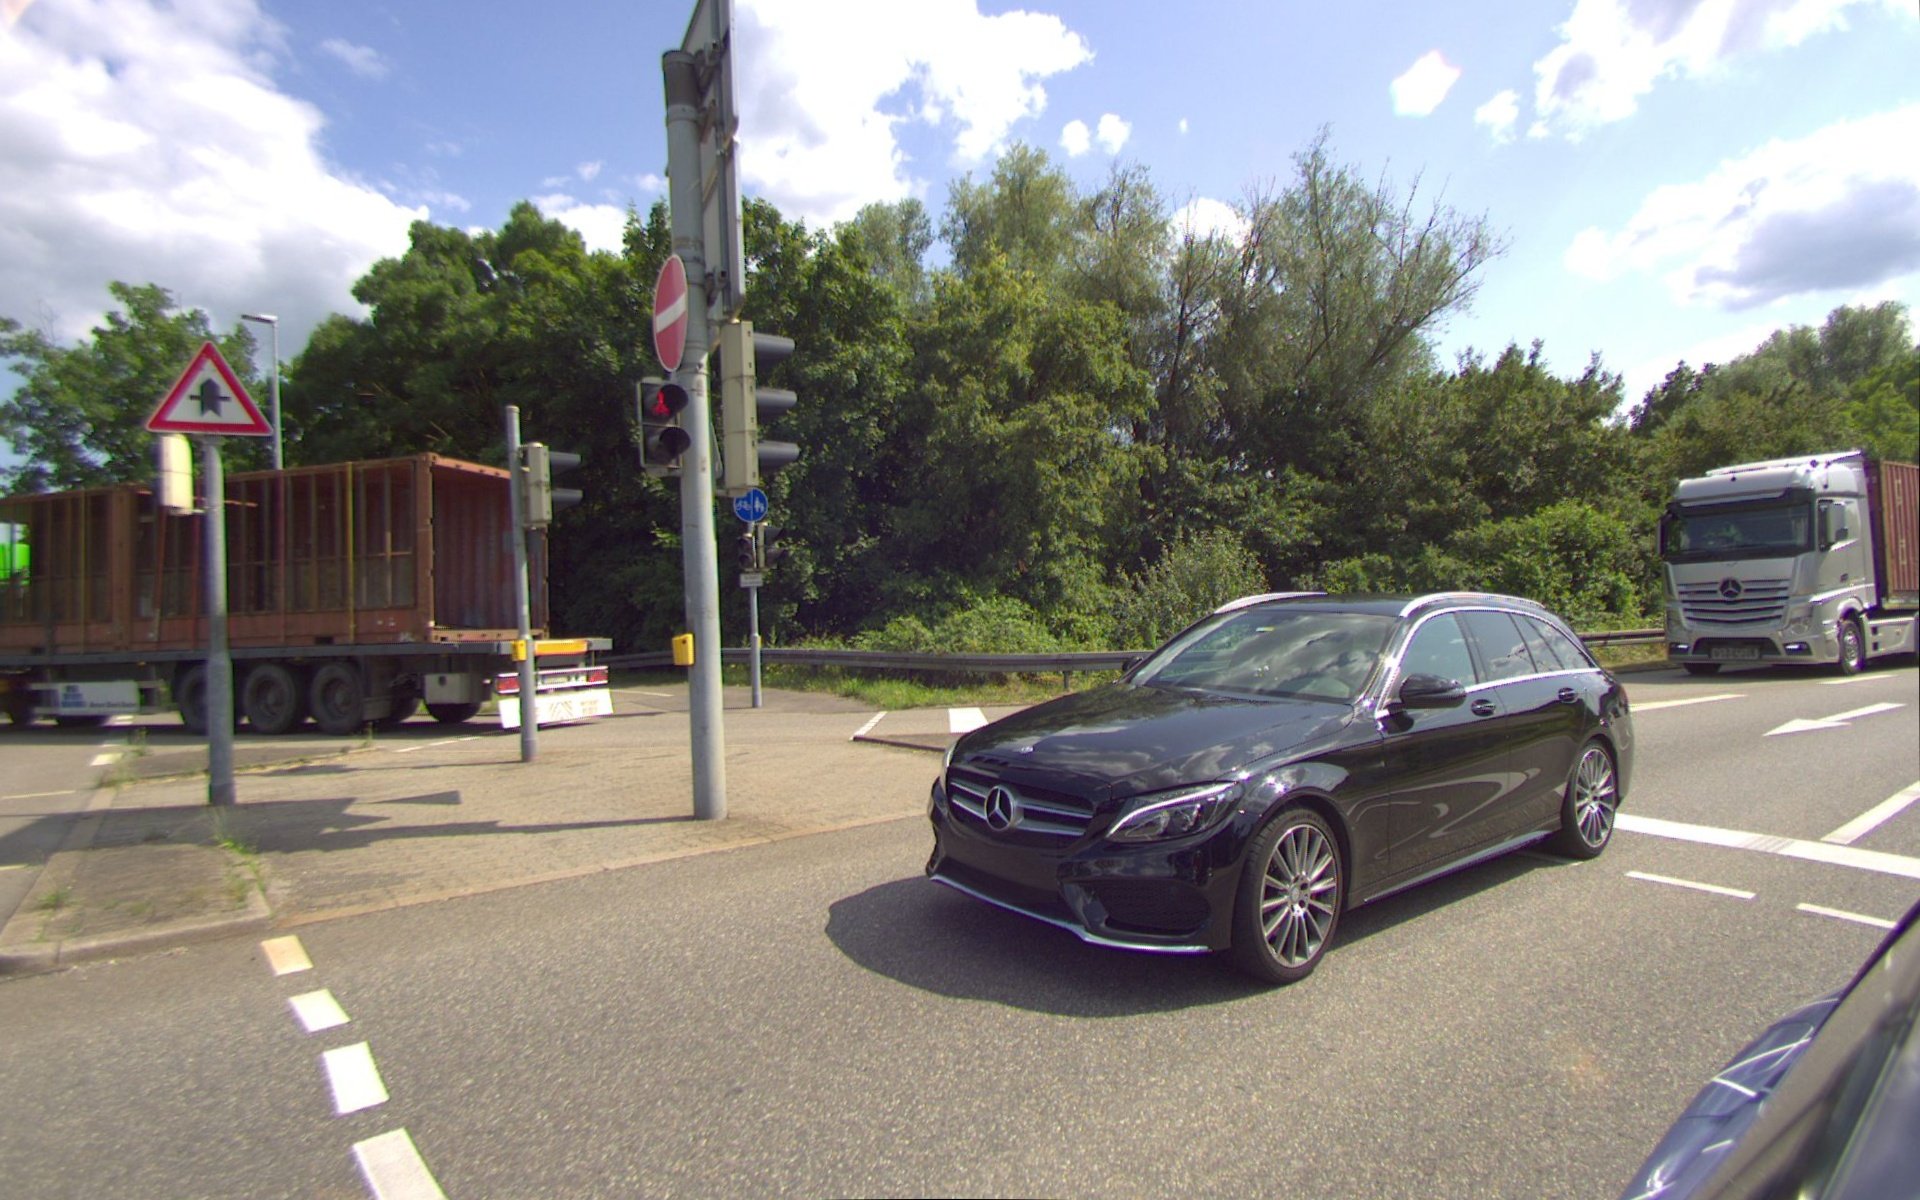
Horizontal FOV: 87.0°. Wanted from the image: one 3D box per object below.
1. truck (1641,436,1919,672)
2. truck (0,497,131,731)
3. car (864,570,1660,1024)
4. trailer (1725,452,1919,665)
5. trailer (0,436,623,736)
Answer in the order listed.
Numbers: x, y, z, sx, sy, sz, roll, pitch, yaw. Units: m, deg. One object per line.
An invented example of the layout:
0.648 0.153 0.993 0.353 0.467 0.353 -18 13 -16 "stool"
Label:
16.461 -0.758 19.536 6.684 3.895 2.780 -1 -2 -31 "truck"
-18.611 0.405 18.750 5.814 3.955 2.853 -4 -3 25 "truck"
1.806 0.607 5.279 4.290 1.454 1.795 -1 0 -38 "car"
21.782 -0.823 22.769 12.076 3.899 2.782 -1 -1 -31 "trailer"
-12.187 0.109 16.640 13.657 3.942 2.632 -3 -2 17 "trailer"
